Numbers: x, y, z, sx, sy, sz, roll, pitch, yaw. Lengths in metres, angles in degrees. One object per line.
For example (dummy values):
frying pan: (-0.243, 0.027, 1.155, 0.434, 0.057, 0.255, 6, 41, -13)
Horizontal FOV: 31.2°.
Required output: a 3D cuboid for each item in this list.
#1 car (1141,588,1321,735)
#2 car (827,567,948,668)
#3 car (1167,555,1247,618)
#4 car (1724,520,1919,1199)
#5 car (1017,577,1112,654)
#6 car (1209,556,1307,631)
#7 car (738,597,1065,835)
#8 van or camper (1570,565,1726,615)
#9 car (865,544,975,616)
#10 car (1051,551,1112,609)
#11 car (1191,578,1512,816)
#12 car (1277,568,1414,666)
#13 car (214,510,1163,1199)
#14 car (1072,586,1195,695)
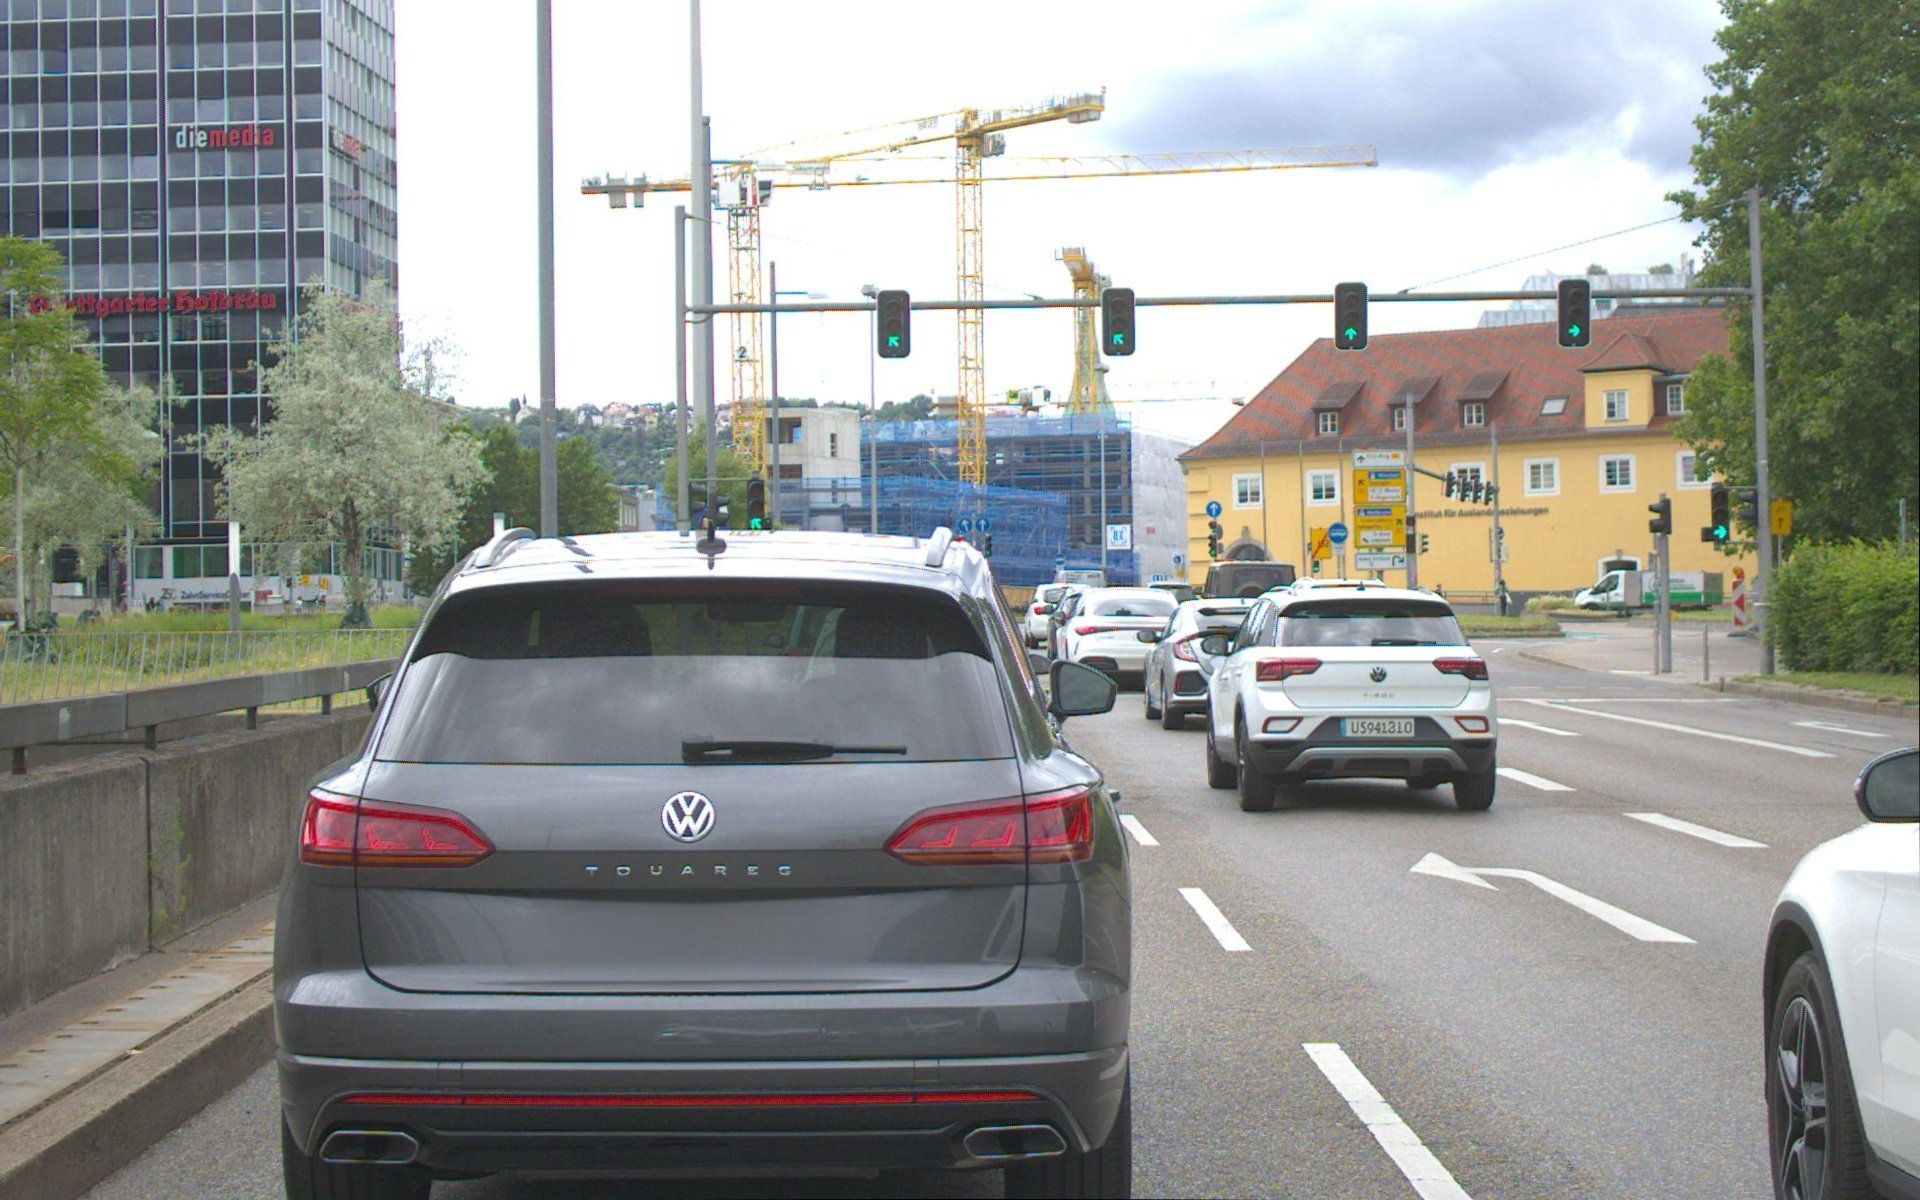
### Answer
car: (2.955, 0.642, 38.219, 1.719, 1.497, 4.144, 0, 1, 1)
car: (-1.109, 0.238, 53.512, 1.814, 1.491, 3.906, 0, 1, -1)
car: (5.998, -0.348, 83.886, 1.719, 1.497, 3.981, 0, 1, 1)
car: (2.695, 0.681, 5.938, 1.819, 1.641, 4.379, 0, 1, 1)
car: (2.424, 0.346, 79.426, 2.139, 1.722, 4.070, 0, 0, 2)
car: (6.094, -0.161, 70.669, 1.719, 1.497, 3.981, 0, 1, 1)
car: (-0.375, 0.710, 23.031, 1.993, 1.382, 4.000, 0, 1, 0)
van or camper: (28.335, -0.401, 141.715, 6.017, 2.007, 2.015, 0, 0, 36)
car: (-0.818, -0.450, 73.988, 2.245, 1.497, 4.611, 0, 1, 1)
car: (4.333, -0.730, 122.901, 1.993, 2.007, 4.000, 0, 1, 0)
car: (2.779, 0.644, 25.170, 1.893, 1.580, 3.801, 0, 1, 0)
car: (6.176, 0.248, 55.421, 1.803, 1.497, 3.981, 0, 1, 1)
car: (-0.573, 0.614, 9.024, 1.933, 1.641, 4.000, 0, 1, 0)
car: (2.558, 0.559, 50.650, 1.719, 1.497, 3.981, 0, 1, 3)
